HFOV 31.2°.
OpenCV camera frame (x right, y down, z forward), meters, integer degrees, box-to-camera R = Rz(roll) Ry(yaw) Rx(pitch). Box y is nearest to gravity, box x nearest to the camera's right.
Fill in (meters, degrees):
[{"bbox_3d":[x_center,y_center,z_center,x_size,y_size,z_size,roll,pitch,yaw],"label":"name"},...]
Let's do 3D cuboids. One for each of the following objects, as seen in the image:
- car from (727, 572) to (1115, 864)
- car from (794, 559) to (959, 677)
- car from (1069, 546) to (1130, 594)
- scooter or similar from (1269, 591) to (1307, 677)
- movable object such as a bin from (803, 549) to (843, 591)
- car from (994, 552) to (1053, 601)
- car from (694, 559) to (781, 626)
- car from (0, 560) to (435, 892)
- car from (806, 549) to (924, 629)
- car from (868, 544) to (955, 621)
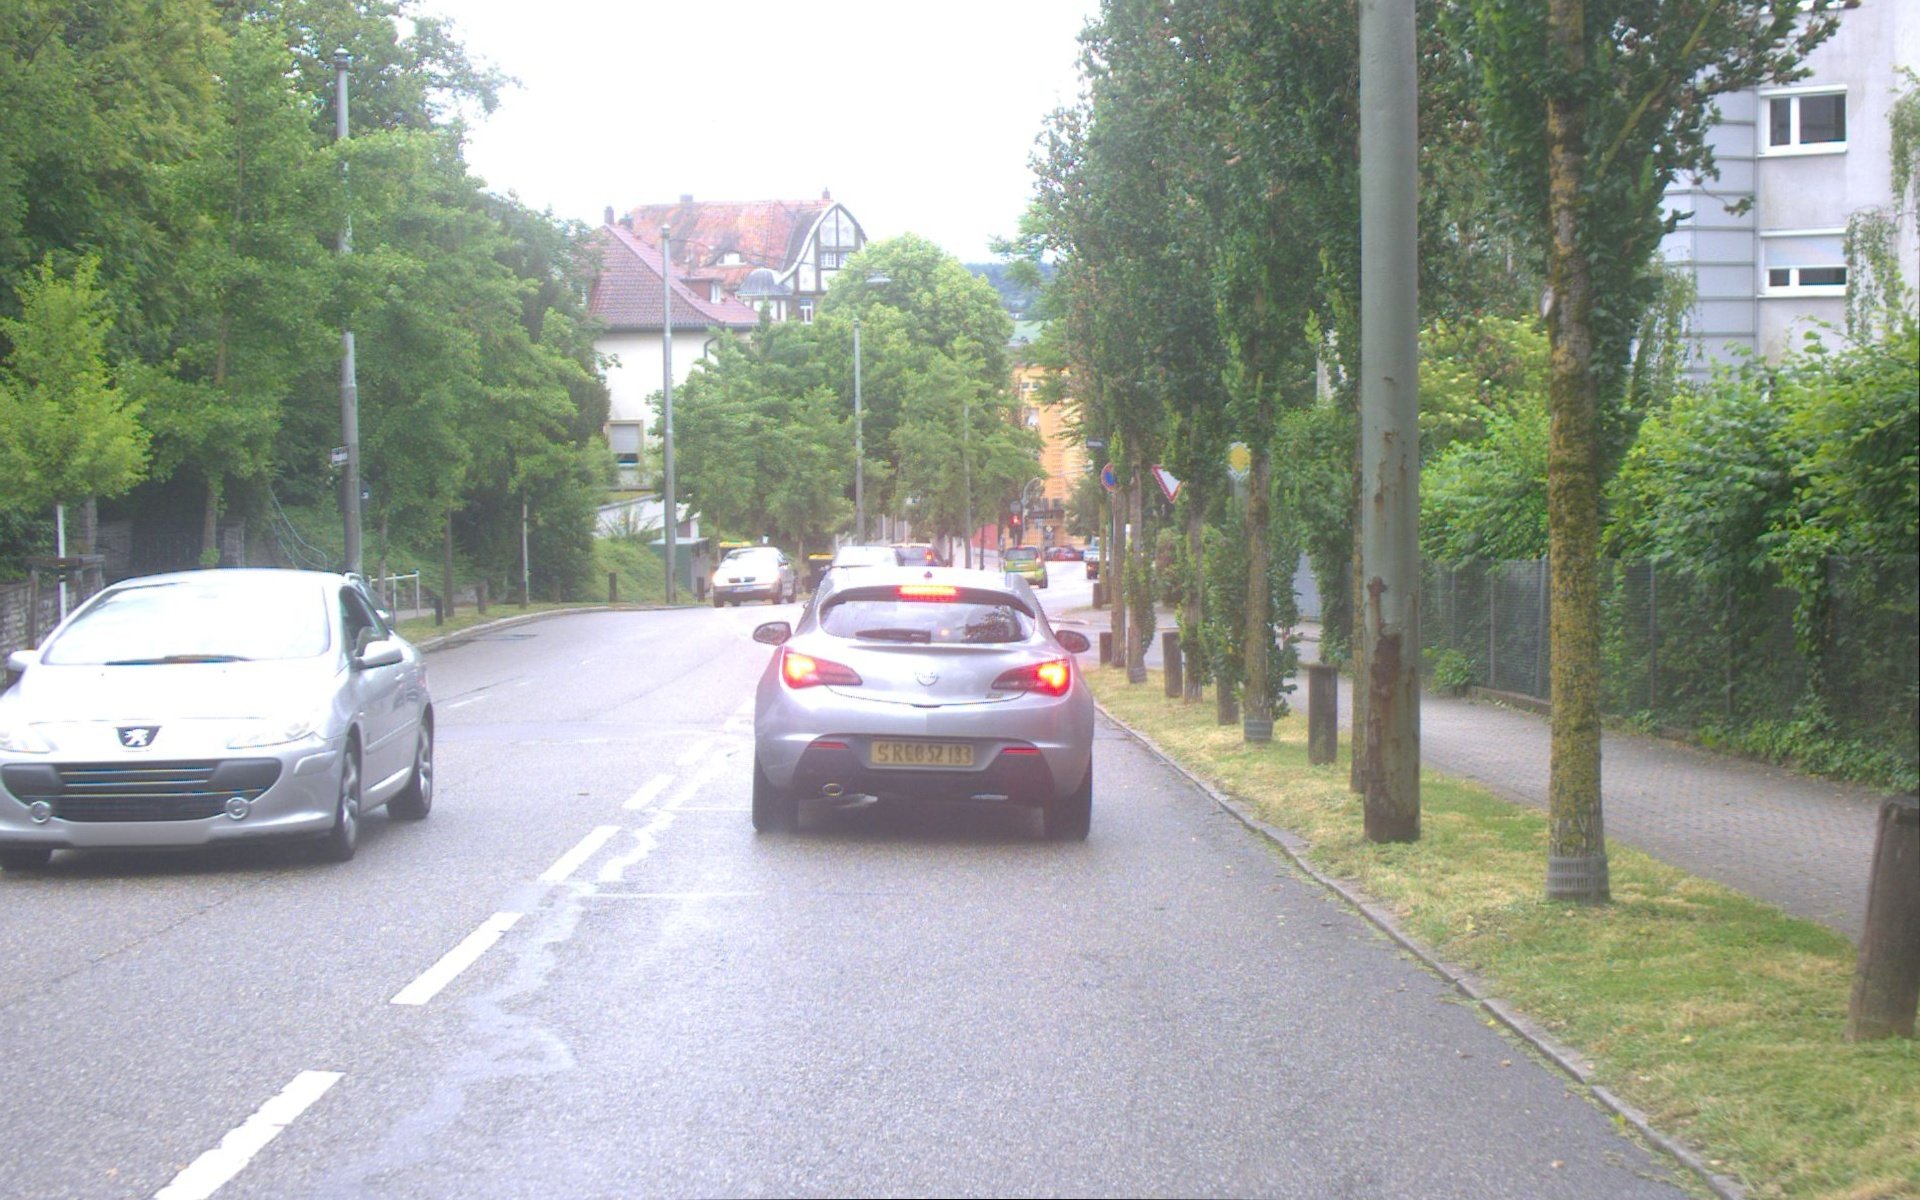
[{"bbox_3d":[-0.219,0.594,19.667,1.945,1.427,3.884,2,0,-1],"label":"car"},{"bbox_3d":[-0.970,0.184,41.840,1.798,1.318,4.000,1,1,1],"label":"car"},{"bbox_3d":[6.513,-1.415,160.188,2.335,2.029,4.734,3,2,7],"label":"car"},{"bbox_3d":[4.911,0.504,51.548,0.342,1.250,1.267,3,0,-2],"label":"scooter or similar"},{"bbox_3d":[-4.635,-1.018,116.616,1.272,1.382,0.489,1,2,5],"label":"movable object such as a bin"},{"bbox_3d":[2.286,-0.853,122.604,1.754,1.645,3.999,3,1,5],"label":"car"},{"bbox_3d":[-5.478,-0.205,84.884,1.765,1.481,3.801,-2,2,1],"label":"car"},{"bbox_3d":[-3.839,0.566,17.703,1.761,1.481,4.000,-1,0,-2],"label":"car"},{"bbox_3d":[-1.946,-0.258,71.708,1.961,1.467,3.950,3,2,5],"label":"car"},{"bbox_3d":[-1.216,-0.471,88.230,1.769,1.775,3.976,3,2,5],"label":"car"}]
